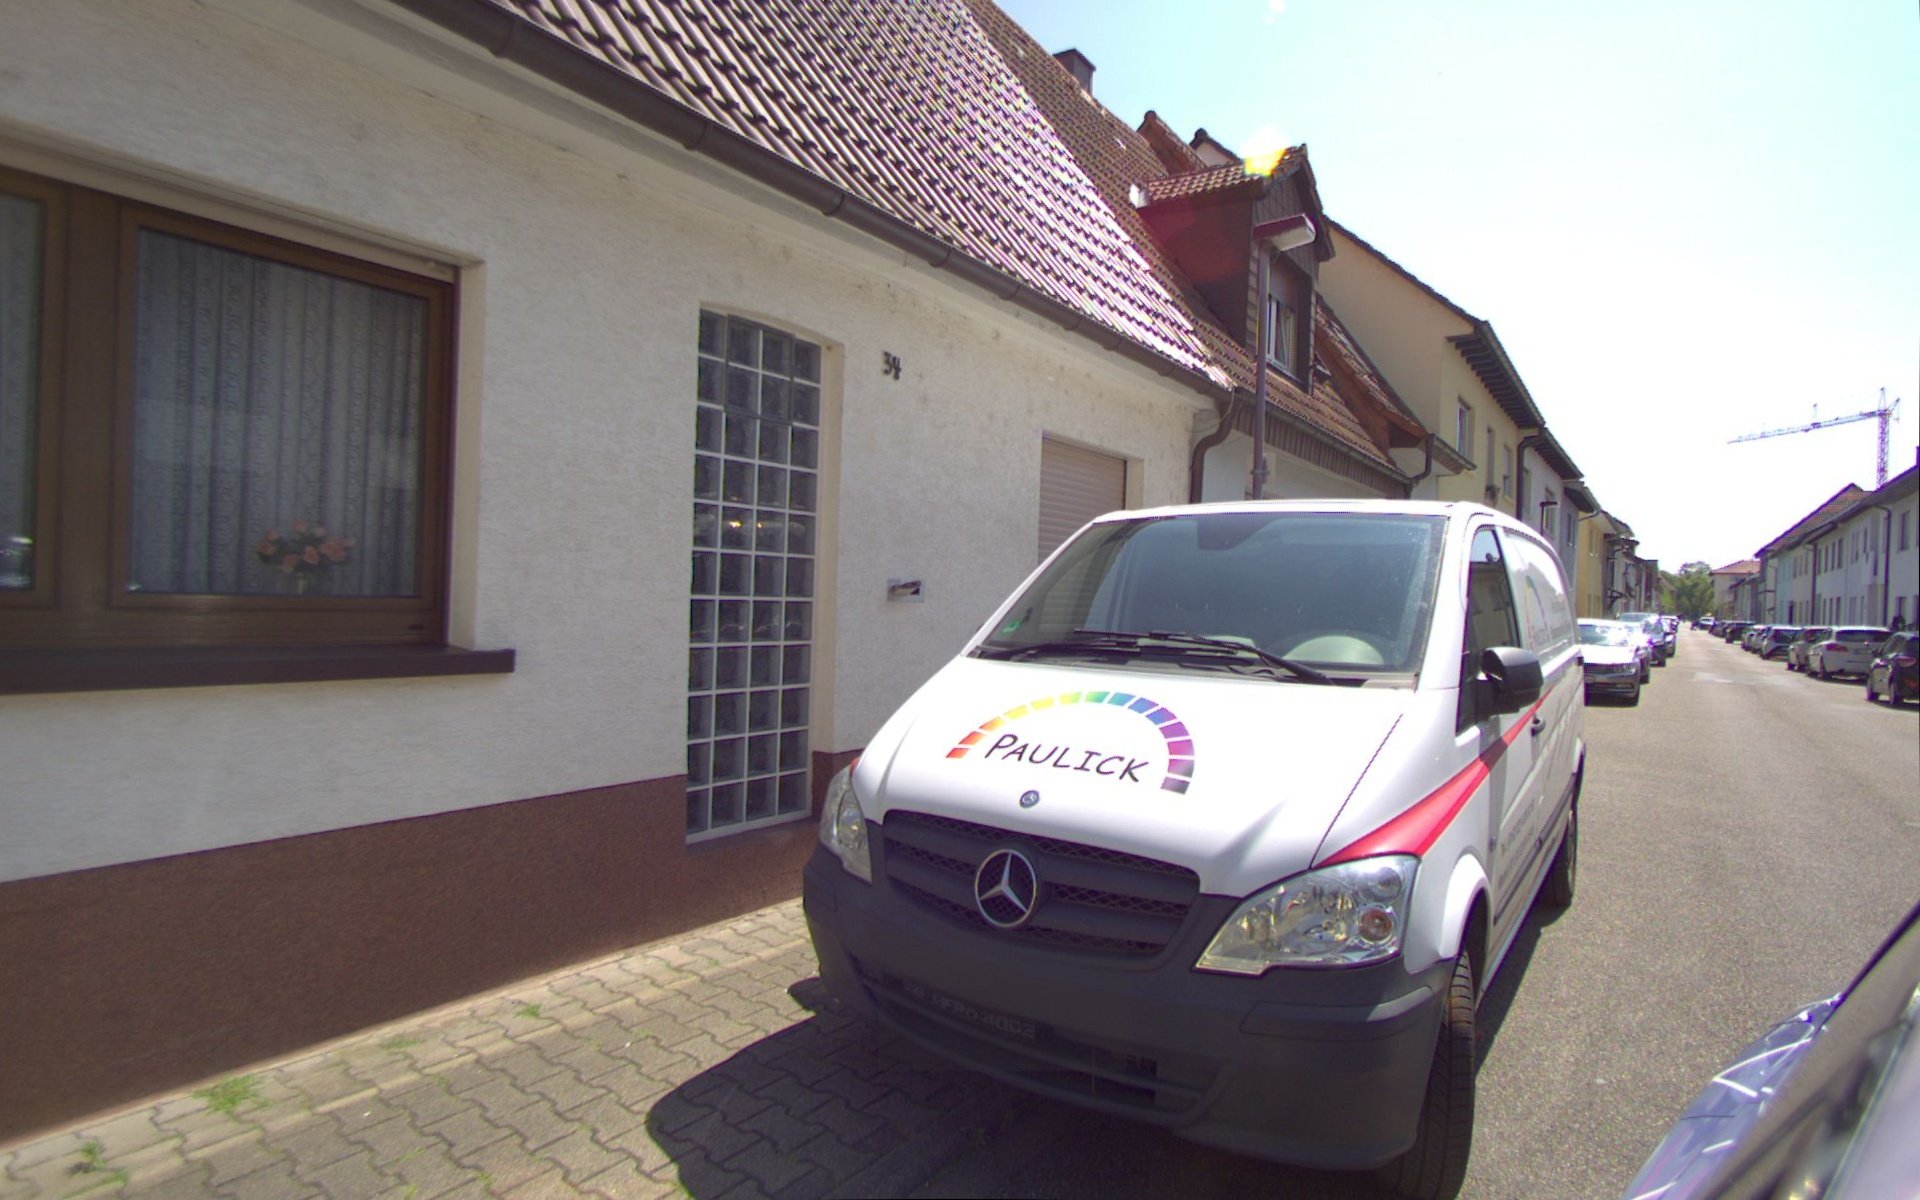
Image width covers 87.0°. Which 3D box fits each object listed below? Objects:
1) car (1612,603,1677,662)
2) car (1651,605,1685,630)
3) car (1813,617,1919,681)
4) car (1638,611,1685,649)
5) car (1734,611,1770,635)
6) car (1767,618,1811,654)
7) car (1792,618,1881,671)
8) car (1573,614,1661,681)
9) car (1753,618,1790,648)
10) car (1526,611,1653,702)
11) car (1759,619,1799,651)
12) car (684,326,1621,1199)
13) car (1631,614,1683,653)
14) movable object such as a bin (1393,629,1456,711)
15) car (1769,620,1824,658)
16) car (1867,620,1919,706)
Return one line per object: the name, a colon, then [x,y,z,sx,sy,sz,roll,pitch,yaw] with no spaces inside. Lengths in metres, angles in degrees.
car: [23.115,1.038,34.140,1.691,1.799,4.146,1,1,35]
car: [44.764,1.078,64.051,1.733,1.487,3.994,1,0,35]
car: [25.782,1.325,28.888,1.656,1.568,3.895,3,1,33]
car: [32.298,1.331,46.667,1.673,1.604,3.913,2,0,34]
car: [57.377,1.650,73.366,1.809,1.627,3.837,3,1,35]
car: [38.805,1.663,47.414,1.408,1.547,2.984,3,1,37]
car: [28.783,1.423,33.330,1.656,1.561,3.645,1,0,33]
car: [16.381,1.105,25.173,1.691,1.453,4.051,1,0,35]
car: [44.856,1.791,56.004,1.408,1.473,3.495,3,1,37]
car: [12.053,0.957,19.247,1.832,1.466,4.716,1,0,35]
car: [41.736,1.779,51.626,1.408,1.473,3.415,3,1,37]
car: [1.542,0.473,4.413,2.007,1.862,5.196,1,0,36]
car: [29.229,1.358,42.391,1.658,1.432,4.193,3,1,36]
movable object such as a bin: [6.623,0.970,14.422,0.656,1.084,0.803,2,0,35]
car: [35.965,1.642,43.572,1.599,1.461,3.170,3,1,37]
car: [19.433,1.241,20.032,1.635,1.556,3.893,3,1,34]
